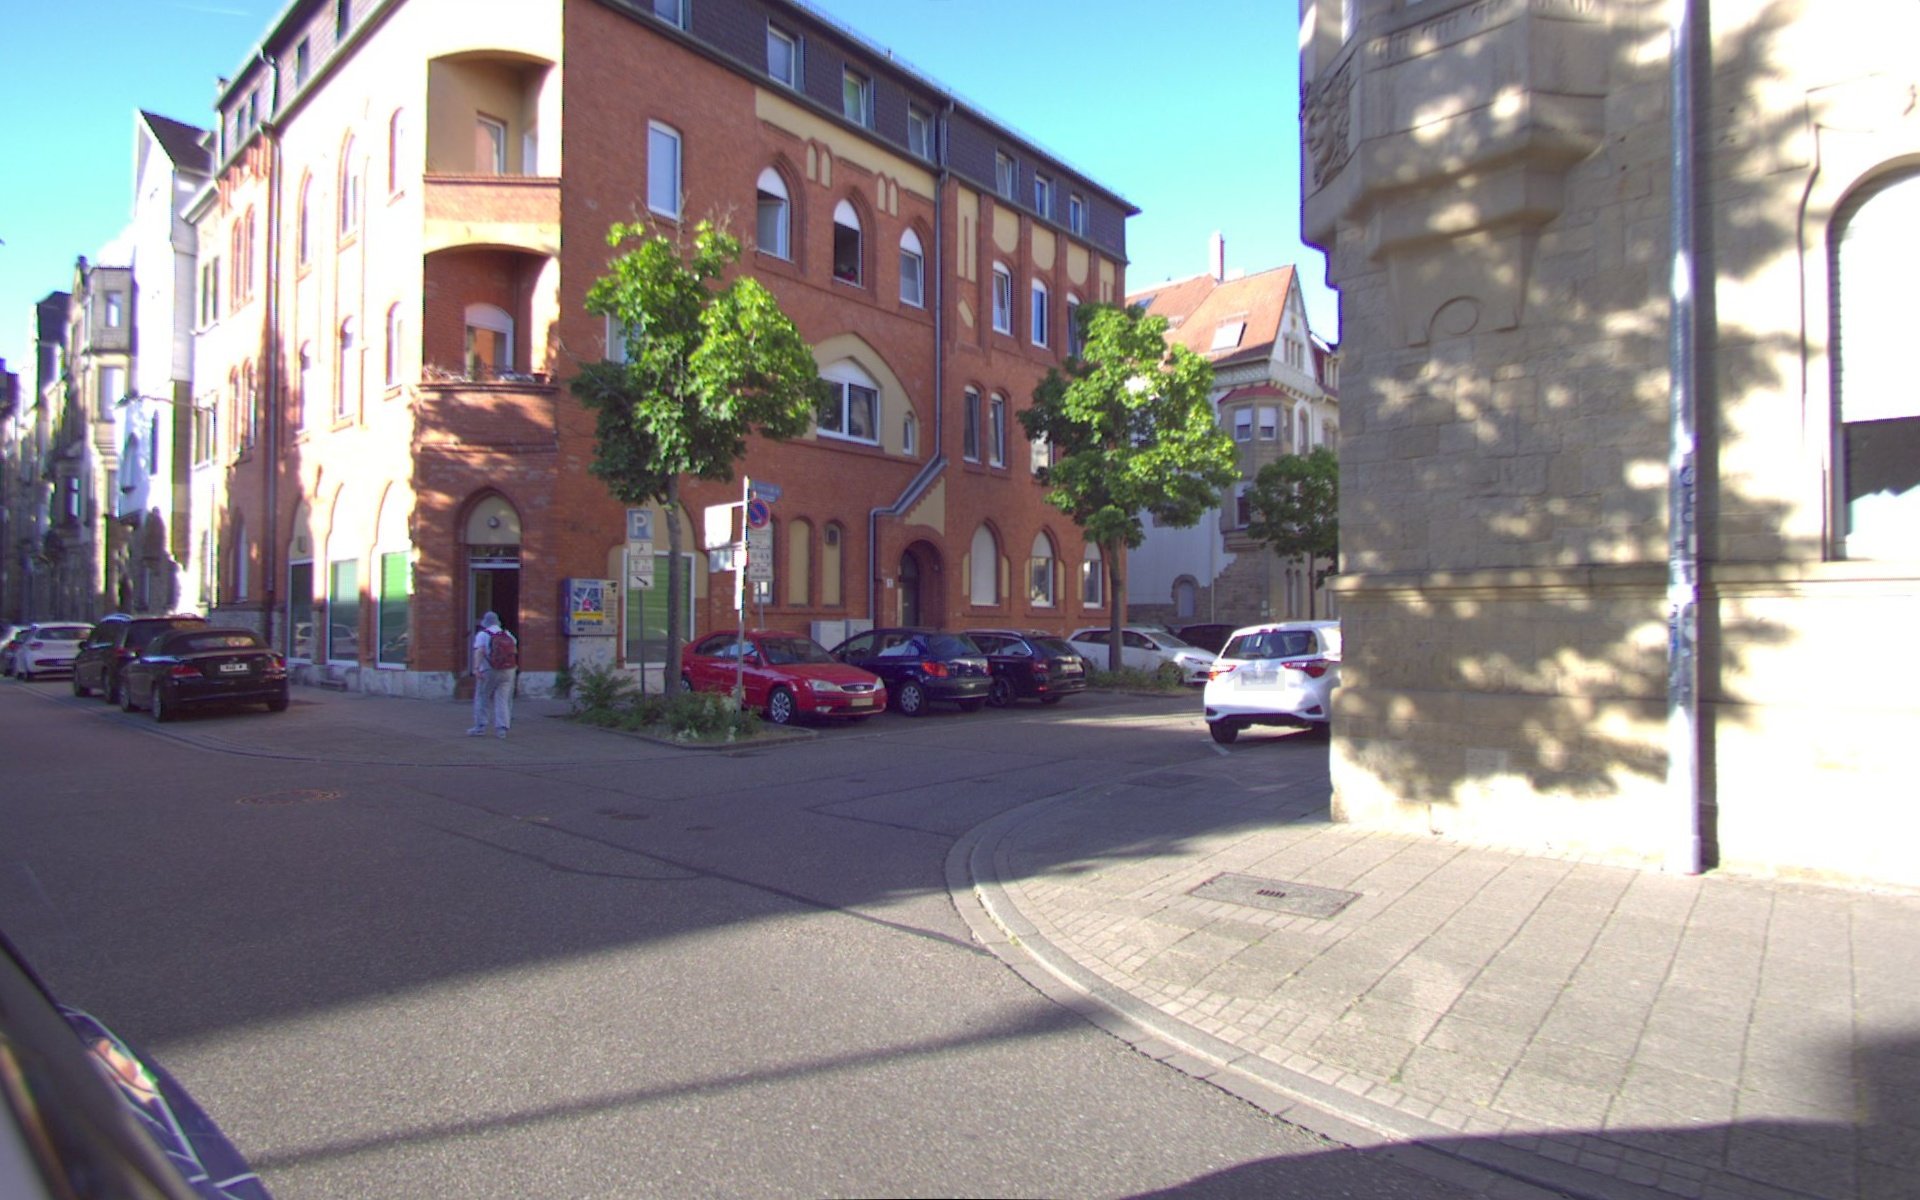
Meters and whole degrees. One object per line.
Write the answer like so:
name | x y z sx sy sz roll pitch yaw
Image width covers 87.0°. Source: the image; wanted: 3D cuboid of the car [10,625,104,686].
car | -23.933 1.434 26.783 3.591 1.481 1.549 -2 -1 43

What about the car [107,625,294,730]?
car | -12.619 1.177 16.712 4.331 1.421 1.618 -1 1 42

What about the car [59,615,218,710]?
car | -16.457 1.150 20.202 4.346 1.693 1.653 -1 -1 40

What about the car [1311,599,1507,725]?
car | 7.885 1.032 17.526 1.865 1.881 4.666 -5 -4 39

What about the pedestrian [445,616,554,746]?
pedestrian | -6.074 1.038 13.345 1.053 1.589 0.878 2 -1 41

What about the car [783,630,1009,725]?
car | -1.270 1.337 18.682 4.210 1.562 1.695 -1 -2 41

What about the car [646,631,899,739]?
car | -3.218 1.285 16.753 4.656 1.480 1.618 -1 -1 42

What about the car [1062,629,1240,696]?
car | 4.799 1.525 25.820 4.210 1.562 1.695 -1 -2 41

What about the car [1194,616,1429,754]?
car | 4.778 1.061 13.468 1.716 1.562 3.758 -5 -4 39

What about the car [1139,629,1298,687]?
car | 7.482 1.643 29.504 4.211 1.562 1.695 -2 -3 42

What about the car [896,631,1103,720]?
car | 0.717 1.403 20.018 3.914 1.523 1.695 -1 -1 41

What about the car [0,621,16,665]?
car | -39.766 1.724 40.948 4.337 1.730 1.856 -2 -1 41

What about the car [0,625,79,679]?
car | -27.814 1.518 30.225 4.108 1.454 1.660 -2 -1 40
